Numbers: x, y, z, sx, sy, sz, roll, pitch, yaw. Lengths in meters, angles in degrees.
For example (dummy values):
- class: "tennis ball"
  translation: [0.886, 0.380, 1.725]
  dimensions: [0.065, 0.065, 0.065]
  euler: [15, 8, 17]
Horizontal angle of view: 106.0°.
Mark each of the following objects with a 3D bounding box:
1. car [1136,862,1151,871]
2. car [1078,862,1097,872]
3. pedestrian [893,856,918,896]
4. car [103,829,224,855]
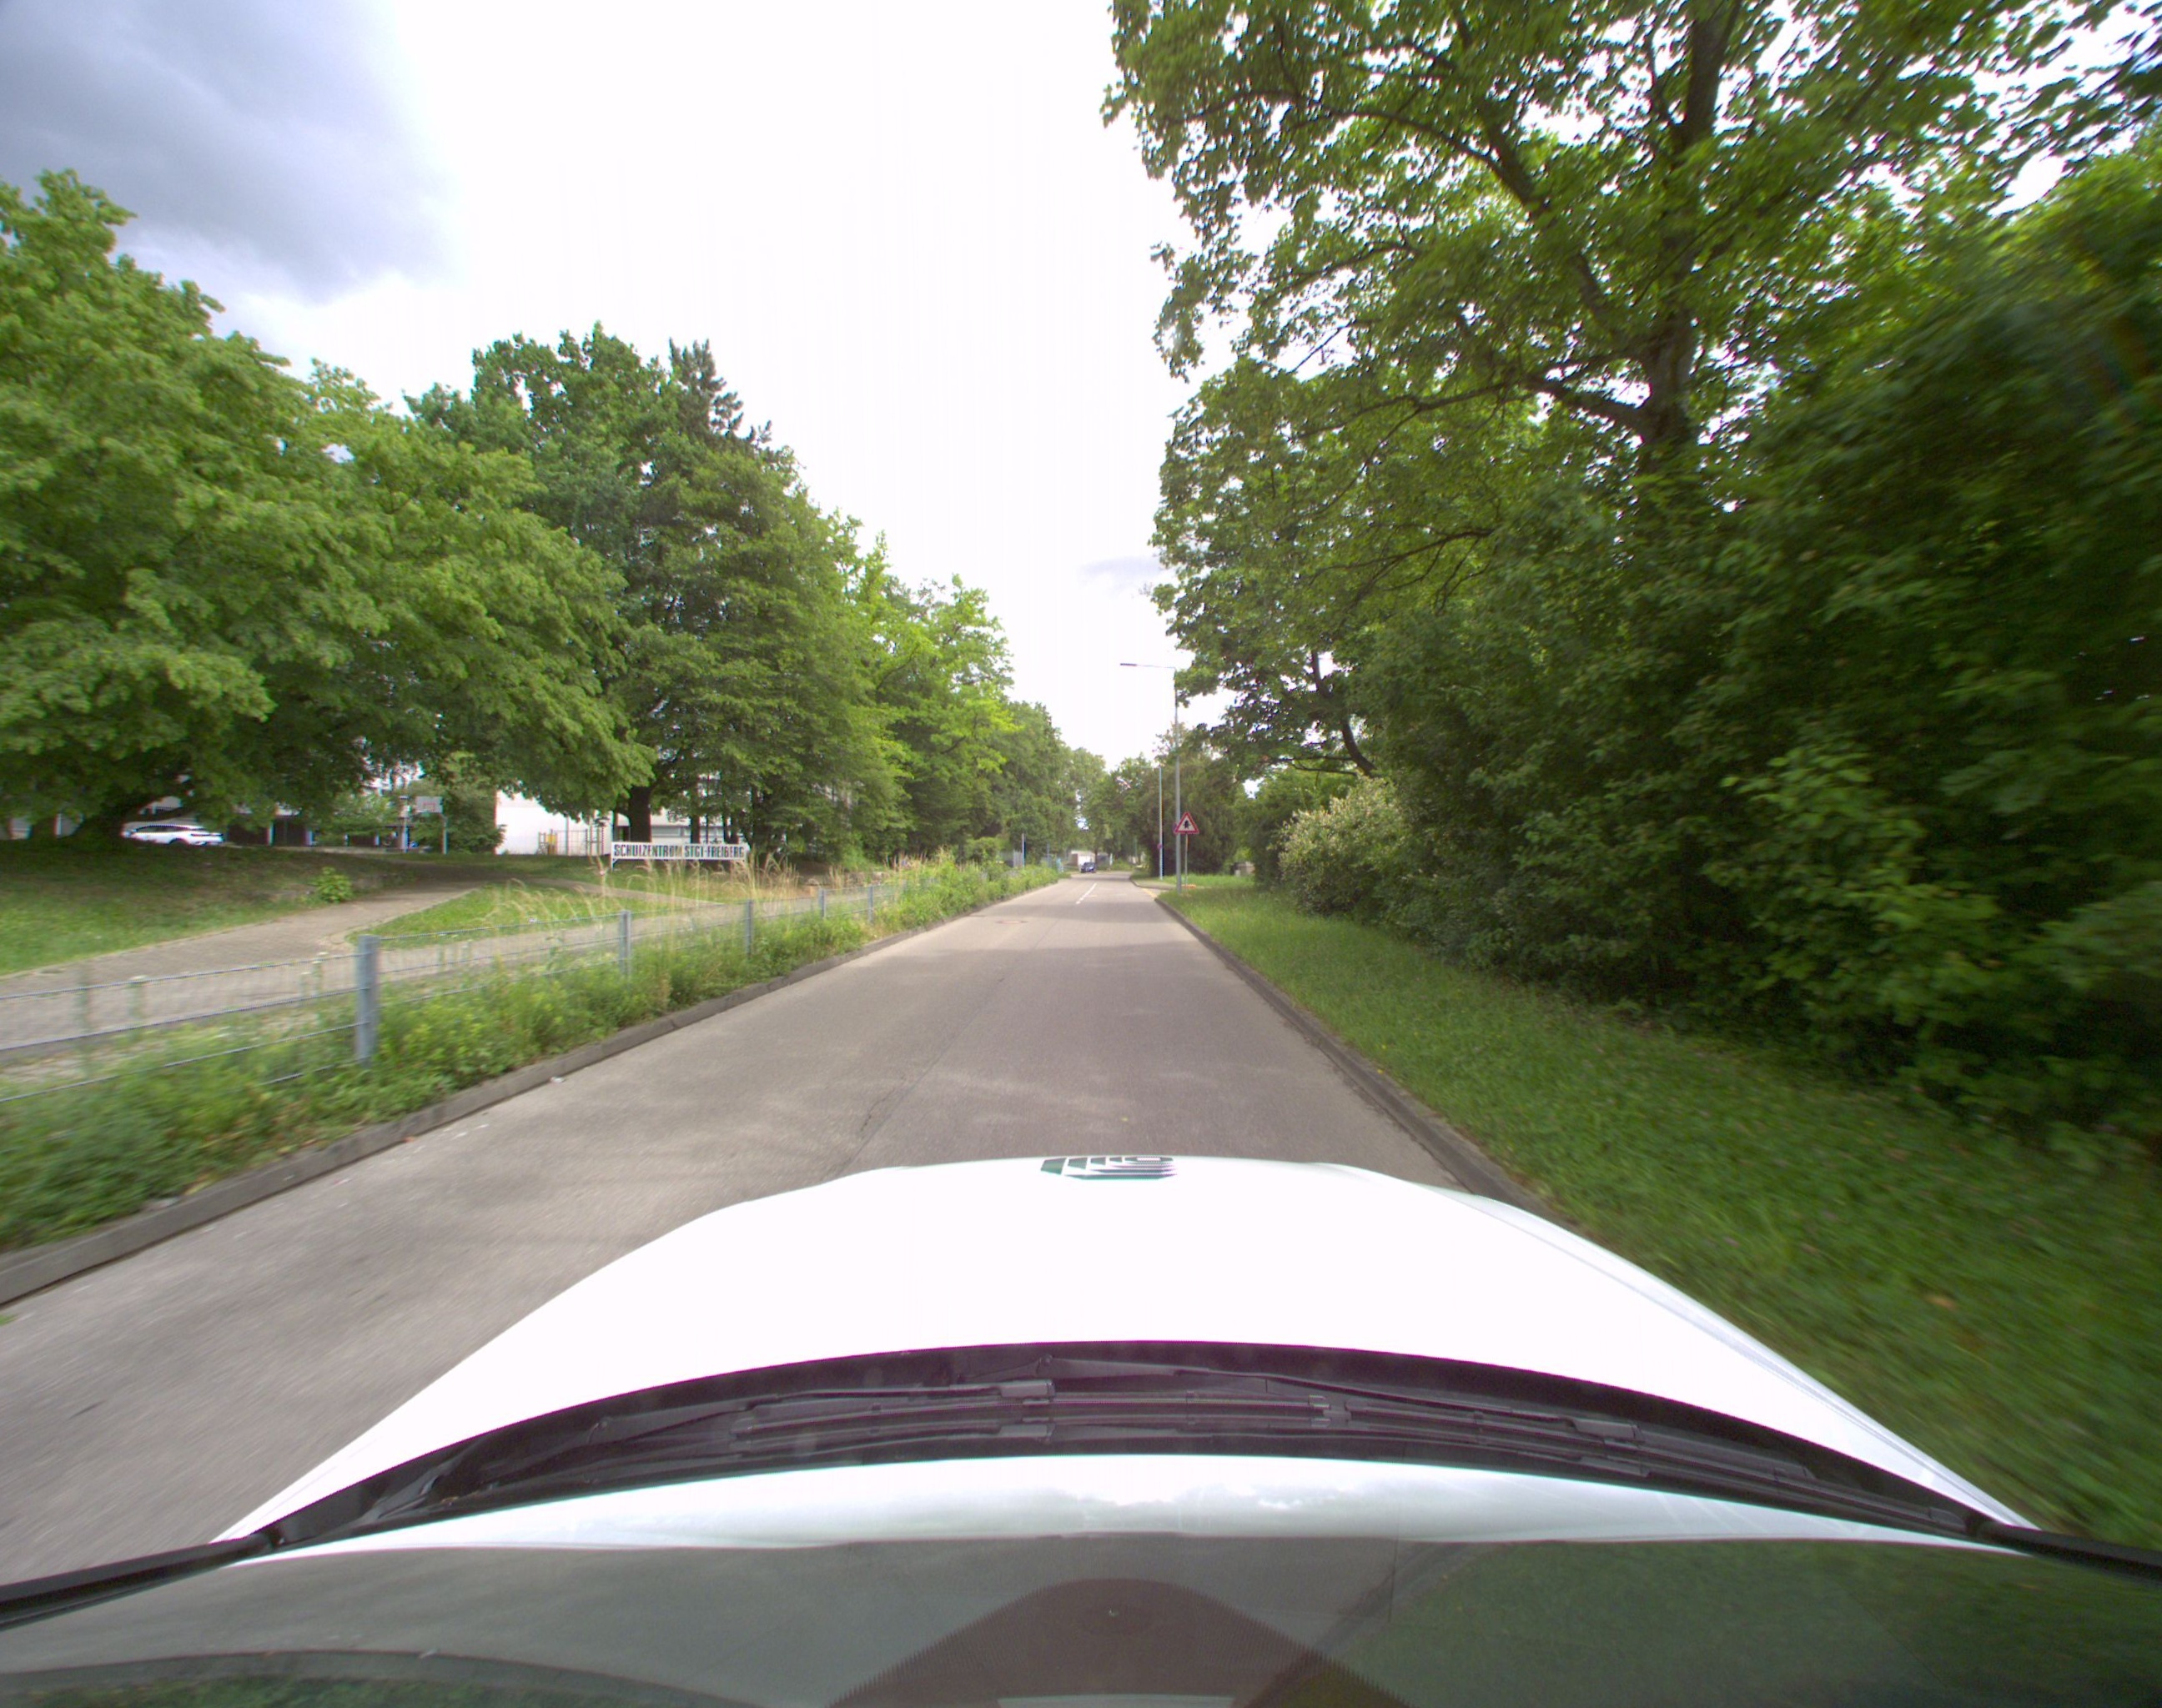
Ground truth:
- class: "car"
  translation: [11.393, 2.295, 148.943]
  dimensions: [1.845, 1.492, 4.017]
  euler: [-3, -3, 16]
- class: "car"
  translation: [0.967, 1.747, 112.202]
  dimensions: [1.967, 1.383, 4.011]
  euler: [0, 0, 10]
- class: "pedestrian"
  translation: [-8.986, 1.117, 41.755]
  dimensions: [0.872, 2.014, 0.867]
  euler: [0, -4, -43]
- class: "car"
  translation: [-50.126, -0.656, 44.599]
  dimensions: [4.089, 1.349, 1.689]
  euler: [-1, 0, -16]
